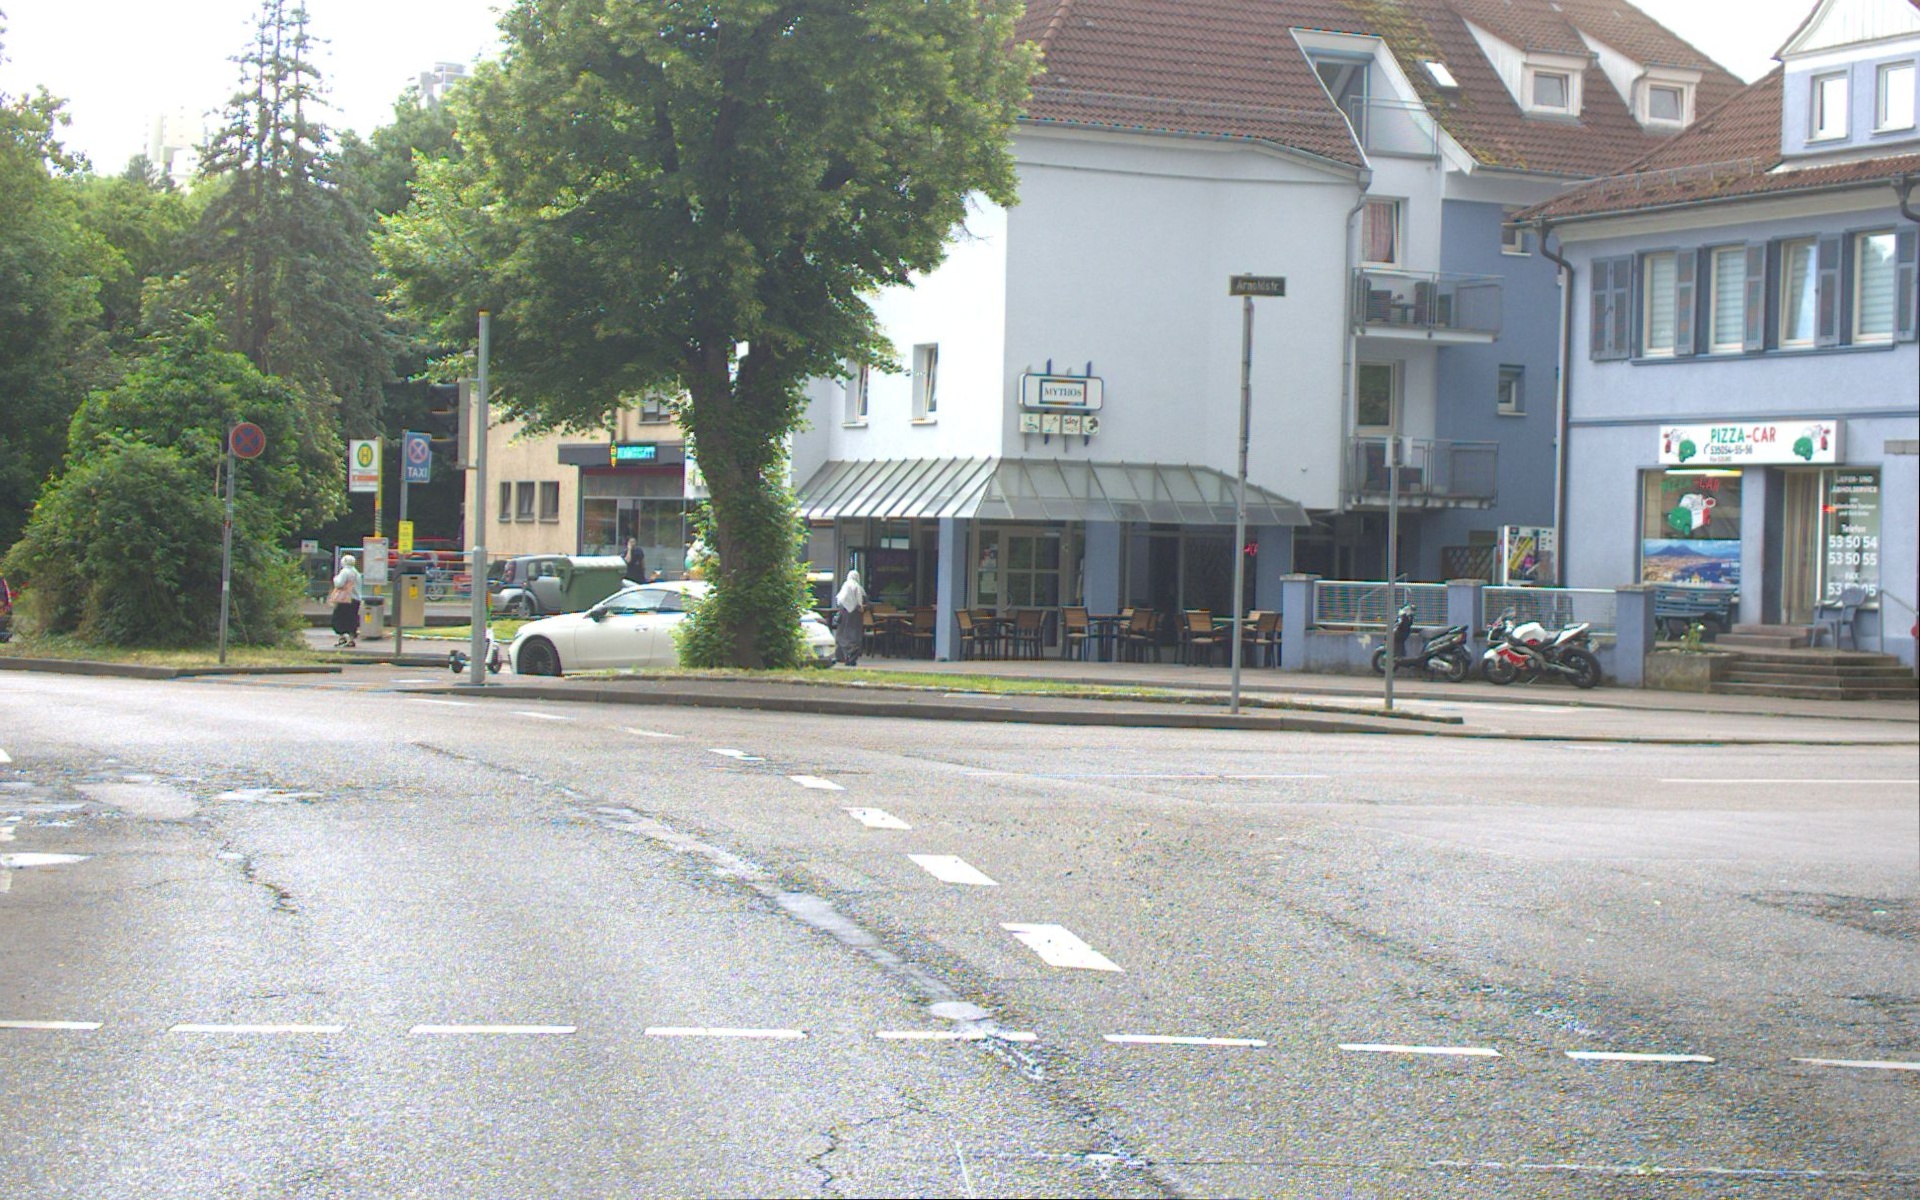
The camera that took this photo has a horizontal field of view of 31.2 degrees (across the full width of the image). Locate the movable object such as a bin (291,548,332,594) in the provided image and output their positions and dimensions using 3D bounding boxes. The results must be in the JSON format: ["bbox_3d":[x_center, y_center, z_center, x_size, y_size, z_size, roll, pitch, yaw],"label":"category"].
[{"bbox_3d":[-16.249,-0.727,86.170,0.950,1.111,0.383,1,1,-21],"label":"movable object such as a bin"}]

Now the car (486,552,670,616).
[{"bbox_3d":[-8.428,-0.362,75.874,3.733,1.340,1.434,1,1,-26],"label":"car"}]

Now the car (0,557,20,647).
[{"bbox_3d":[-16.516,-0.010,53.724,3.590,1.389,1.469,2,1,32],"label":"car"}]

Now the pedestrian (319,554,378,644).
[{"bbox_3d":[-10.529,-0.018,59.173,0.707,1.539,0.677,2,1,40],"label":"pedestrian"}]

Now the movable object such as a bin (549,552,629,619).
[{"bbox_3d":[-7.985,-0.320,73.977,1.440,1.404,0.967,1,1,-27],"label":"movable object such as a bin"}]

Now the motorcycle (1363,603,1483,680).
[{"bbox_3d":[6.749,0.598,50.161,1.636,1.060,0.693,2,1,44],"label":"motorcycle"}]

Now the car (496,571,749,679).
[{"bbox_3d":[-4.534,0.318,46.045,3.171,1.350,1.436,2,1,35],"label":"car"}]

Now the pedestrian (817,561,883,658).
[{"bbox_3d":[-1.766,0.149,55.132,0.768,1.539,0.677,1,1,39],"label":"pedestrian"}]

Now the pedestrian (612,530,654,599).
[{"bbox_3d":[-7.447,-0.807,78.285,0.676,1.539,0.708,1,1,-34],"label":"pedestrian"}]

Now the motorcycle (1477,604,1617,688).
[{"bbox_3d":[8.254,0.635,48.382,1.798,1.118,0.693,2,1,38],"label":"motorcycle"}]

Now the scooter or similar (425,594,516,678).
[{"bbox_3d":[-6.062,0.433,42.652,0.417,1.008,1.565,1,1,20],"label":"scooter or similar"}]
